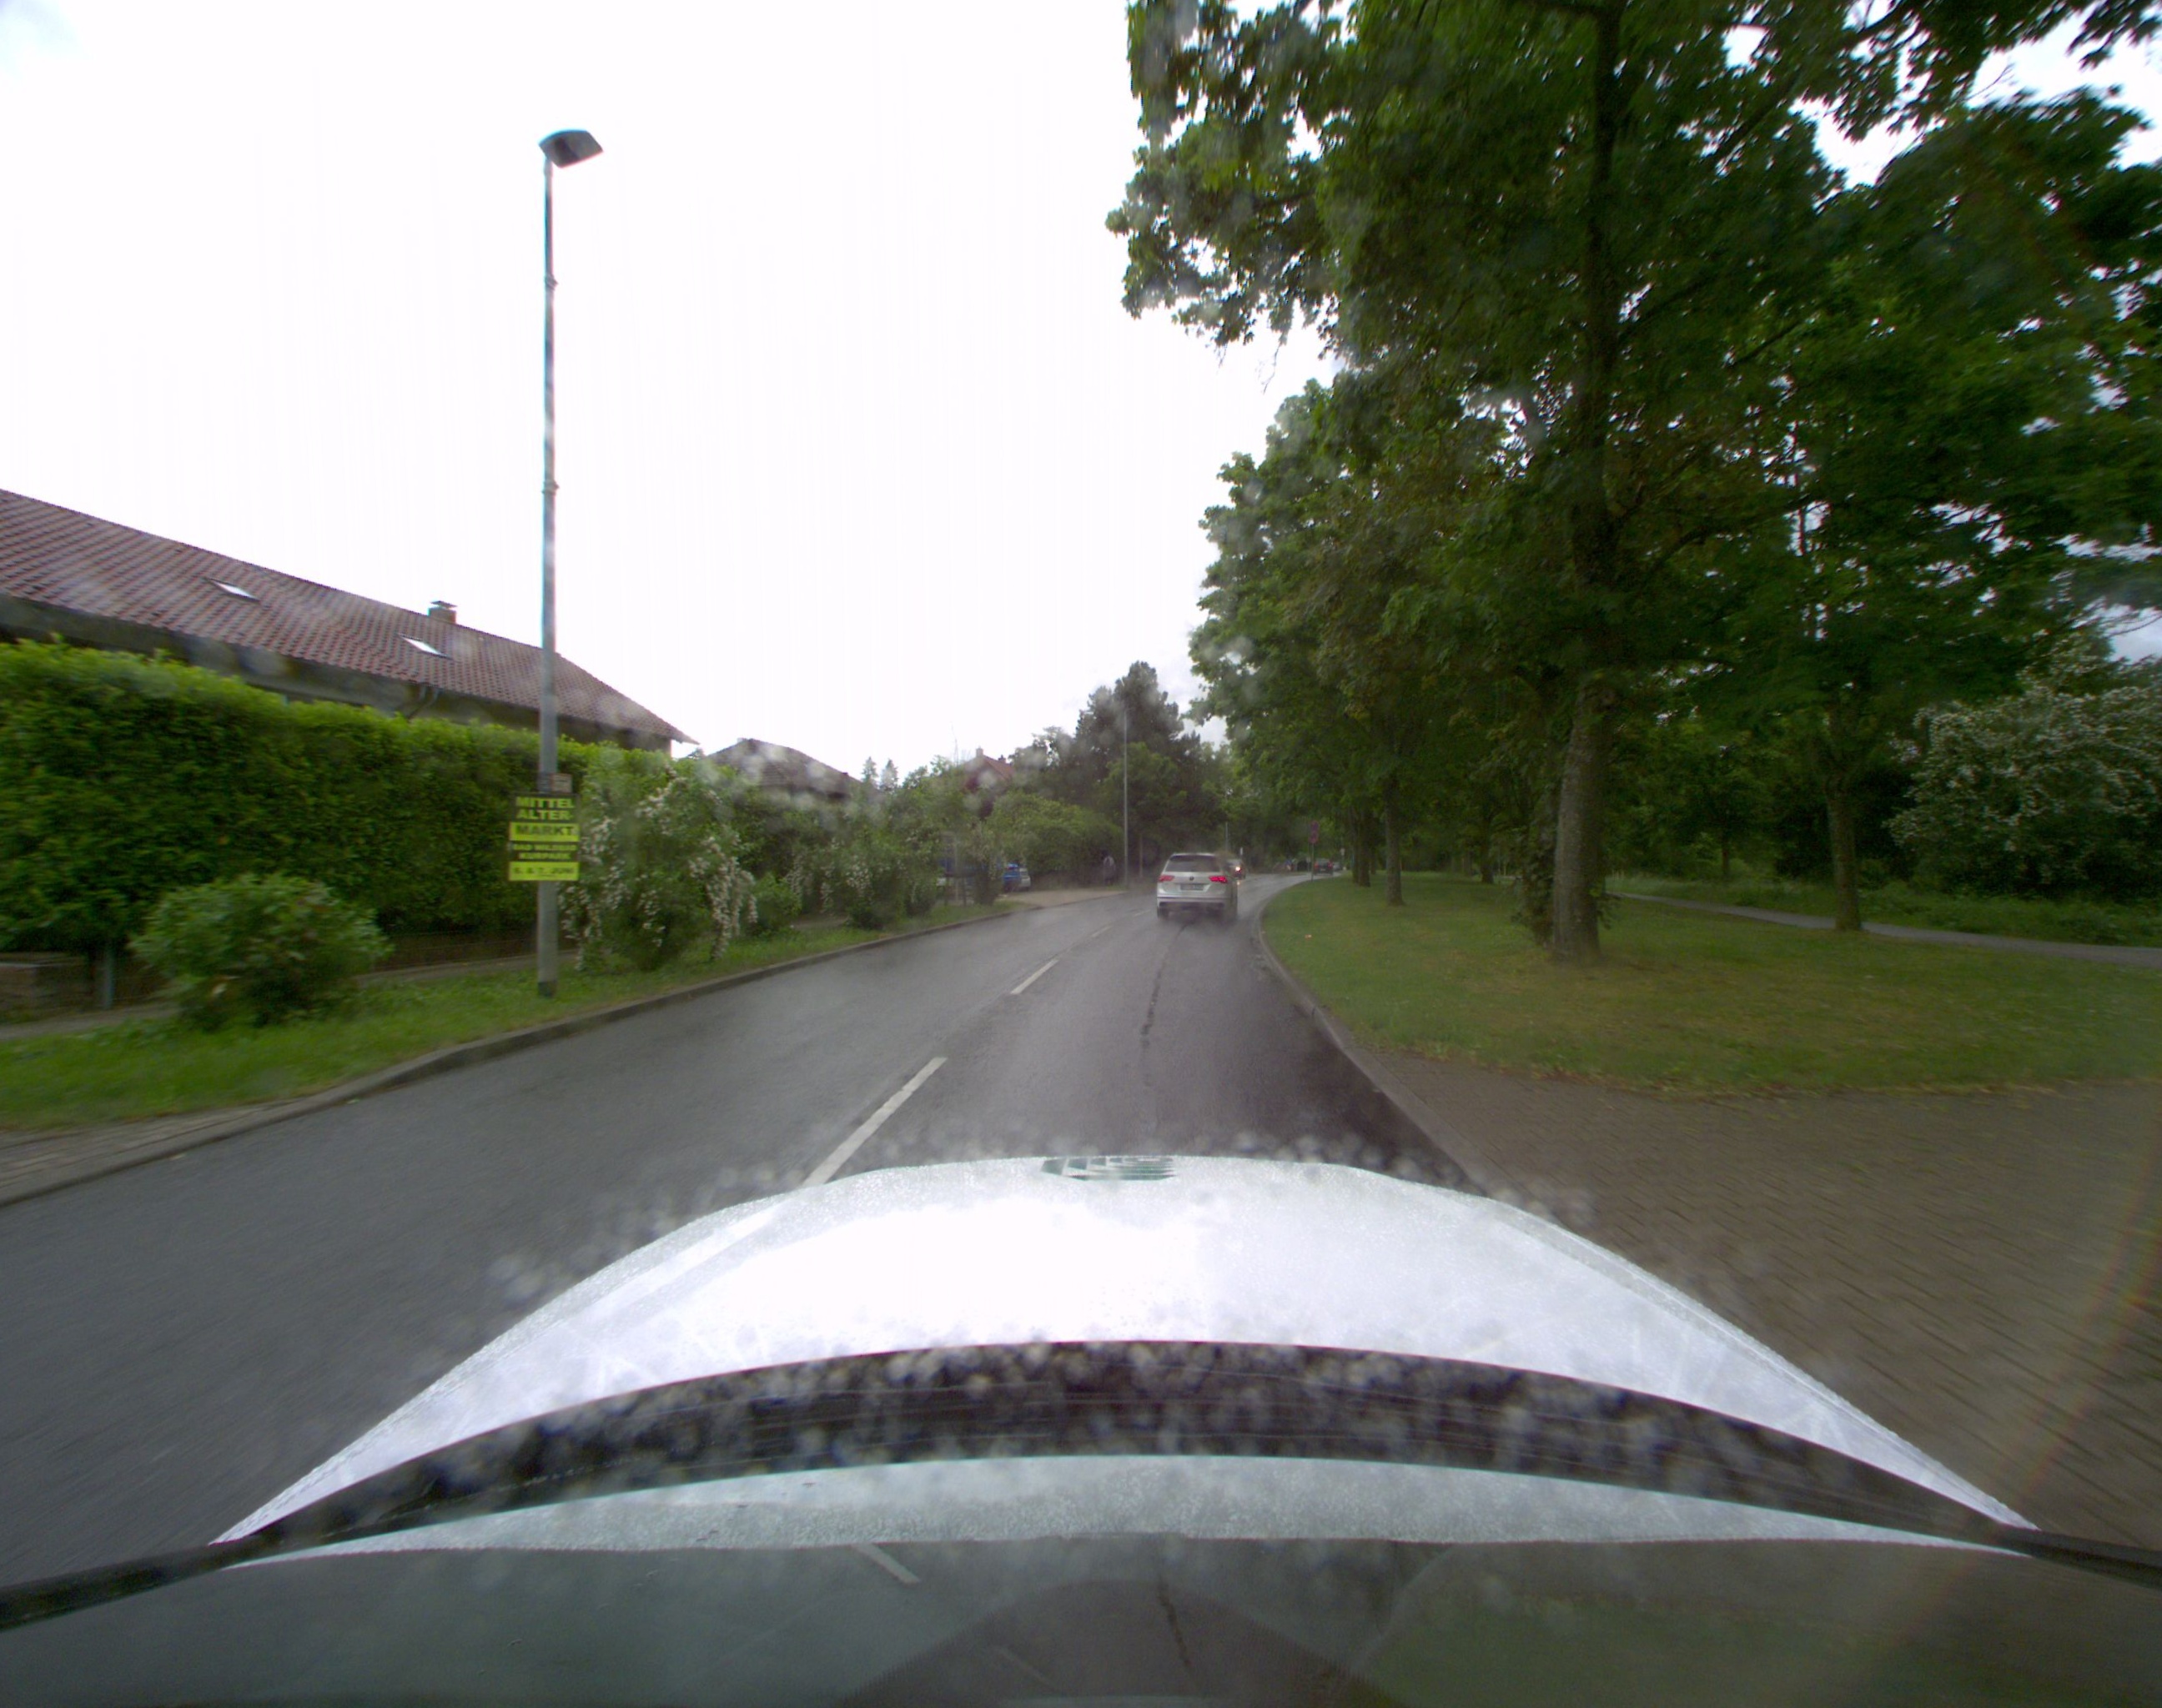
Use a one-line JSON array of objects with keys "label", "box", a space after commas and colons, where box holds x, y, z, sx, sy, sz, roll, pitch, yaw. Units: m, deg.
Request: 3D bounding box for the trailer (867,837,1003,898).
[{"label": "trailer", "box": [-5.400, 0.502, 30.303, 4.587, 2.171, 1.822, 0, -1, 14]}]

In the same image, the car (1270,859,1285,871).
[{"label": "car", "box": [30.335, 1.669, 125.460, 1.978, 1.763, 4.017, 1, -2, 17]}]

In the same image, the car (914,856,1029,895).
[{"label": "car", "box": [-4.467, 0.855, 33.564, 4.207, 1.539, 2.060, 0, -1, 14]}]

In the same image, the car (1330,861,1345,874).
[{"label": "car", "box": [38.365, 2.090, 121.989, 1.978, 1.805, 4.016, 1, -2, 16]}]

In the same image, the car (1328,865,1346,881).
[{"label": "car", "box": [30.341, 2.271, 96.633, 1.978, 1.759, 4.016, 1, -2, 16]}]

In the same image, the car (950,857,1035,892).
[{"label": "car", "box": [-3.981, 0.894, 36.790, 3.378, 1.519, 1.737, 0, -1, 14]}]

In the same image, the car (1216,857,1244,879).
[{"label": "car", "box": [10.804, 1.000, 58.951, 1.571, 1.477, 3.913, -2, 0, 17]}]

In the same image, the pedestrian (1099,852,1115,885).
[{"label": "pedestrian", "box": [1.339, 0.747, 41.835, 0.774, 1.662, 0.844, 0, 0, 3]}]

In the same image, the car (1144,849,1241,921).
[{"label": "car", "box": [2.975, 0.738, 20.982, 1.959, 1.653, 4.193, 0, -1, 15]}]

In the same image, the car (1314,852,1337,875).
[{"label": "car", "box": [22.577, 0.872, 75.238, 1.886, 2.014, 3.961, 1, -2, 17]}]
